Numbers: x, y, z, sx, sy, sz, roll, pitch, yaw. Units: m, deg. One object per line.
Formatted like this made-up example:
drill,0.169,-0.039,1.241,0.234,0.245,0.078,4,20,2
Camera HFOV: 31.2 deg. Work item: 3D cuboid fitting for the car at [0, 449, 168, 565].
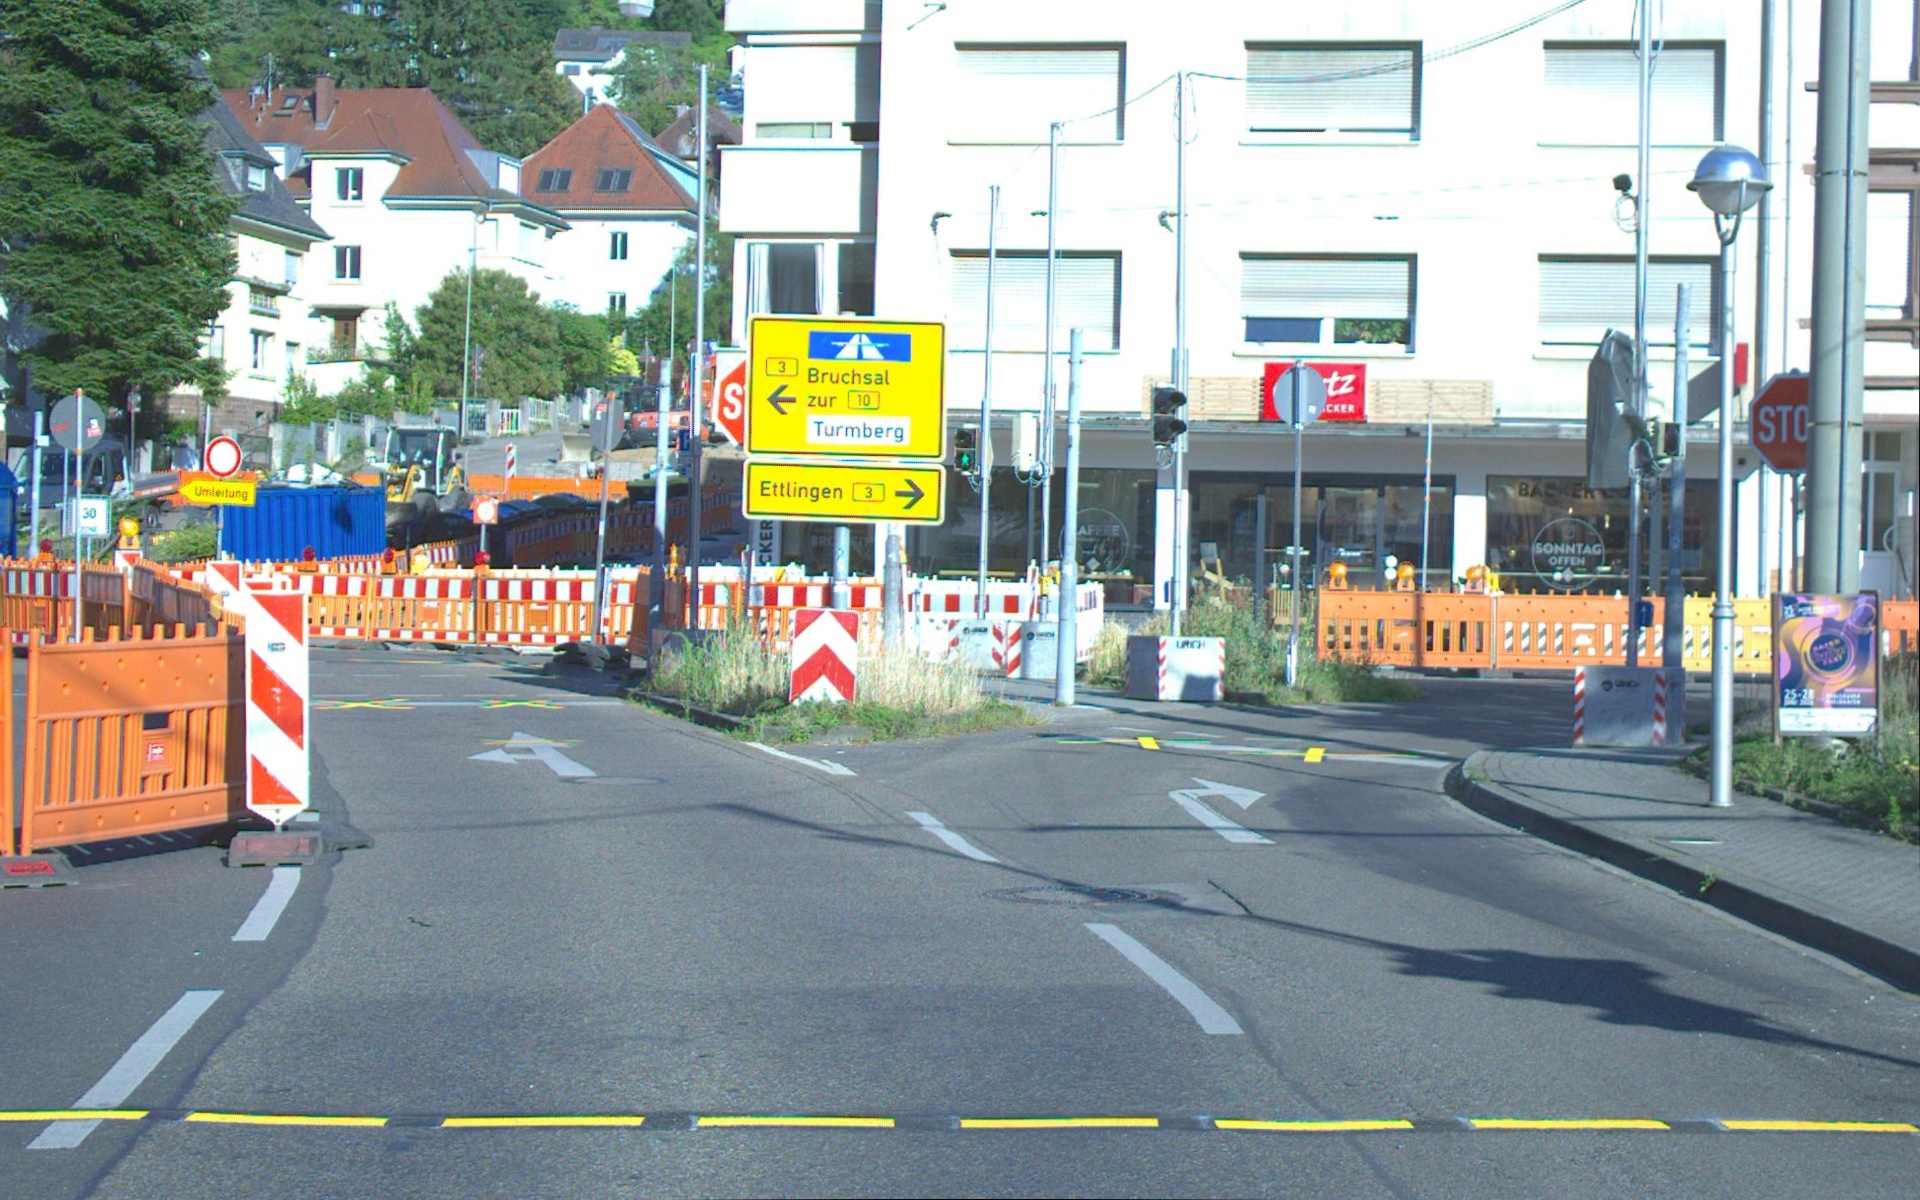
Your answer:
car,-17.981,-1.751,66.126,2.585,2.113,6.145,1,1,18

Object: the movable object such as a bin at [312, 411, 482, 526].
movable object such as a bin,-12.885,-2.986,78.946,1.950,2.486,4.547,1,1,18

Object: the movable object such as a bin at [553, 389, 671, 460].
movable object such as a bin,-11.588,-5.833,114.841,2.566,2.114,5.782,1,1,8
